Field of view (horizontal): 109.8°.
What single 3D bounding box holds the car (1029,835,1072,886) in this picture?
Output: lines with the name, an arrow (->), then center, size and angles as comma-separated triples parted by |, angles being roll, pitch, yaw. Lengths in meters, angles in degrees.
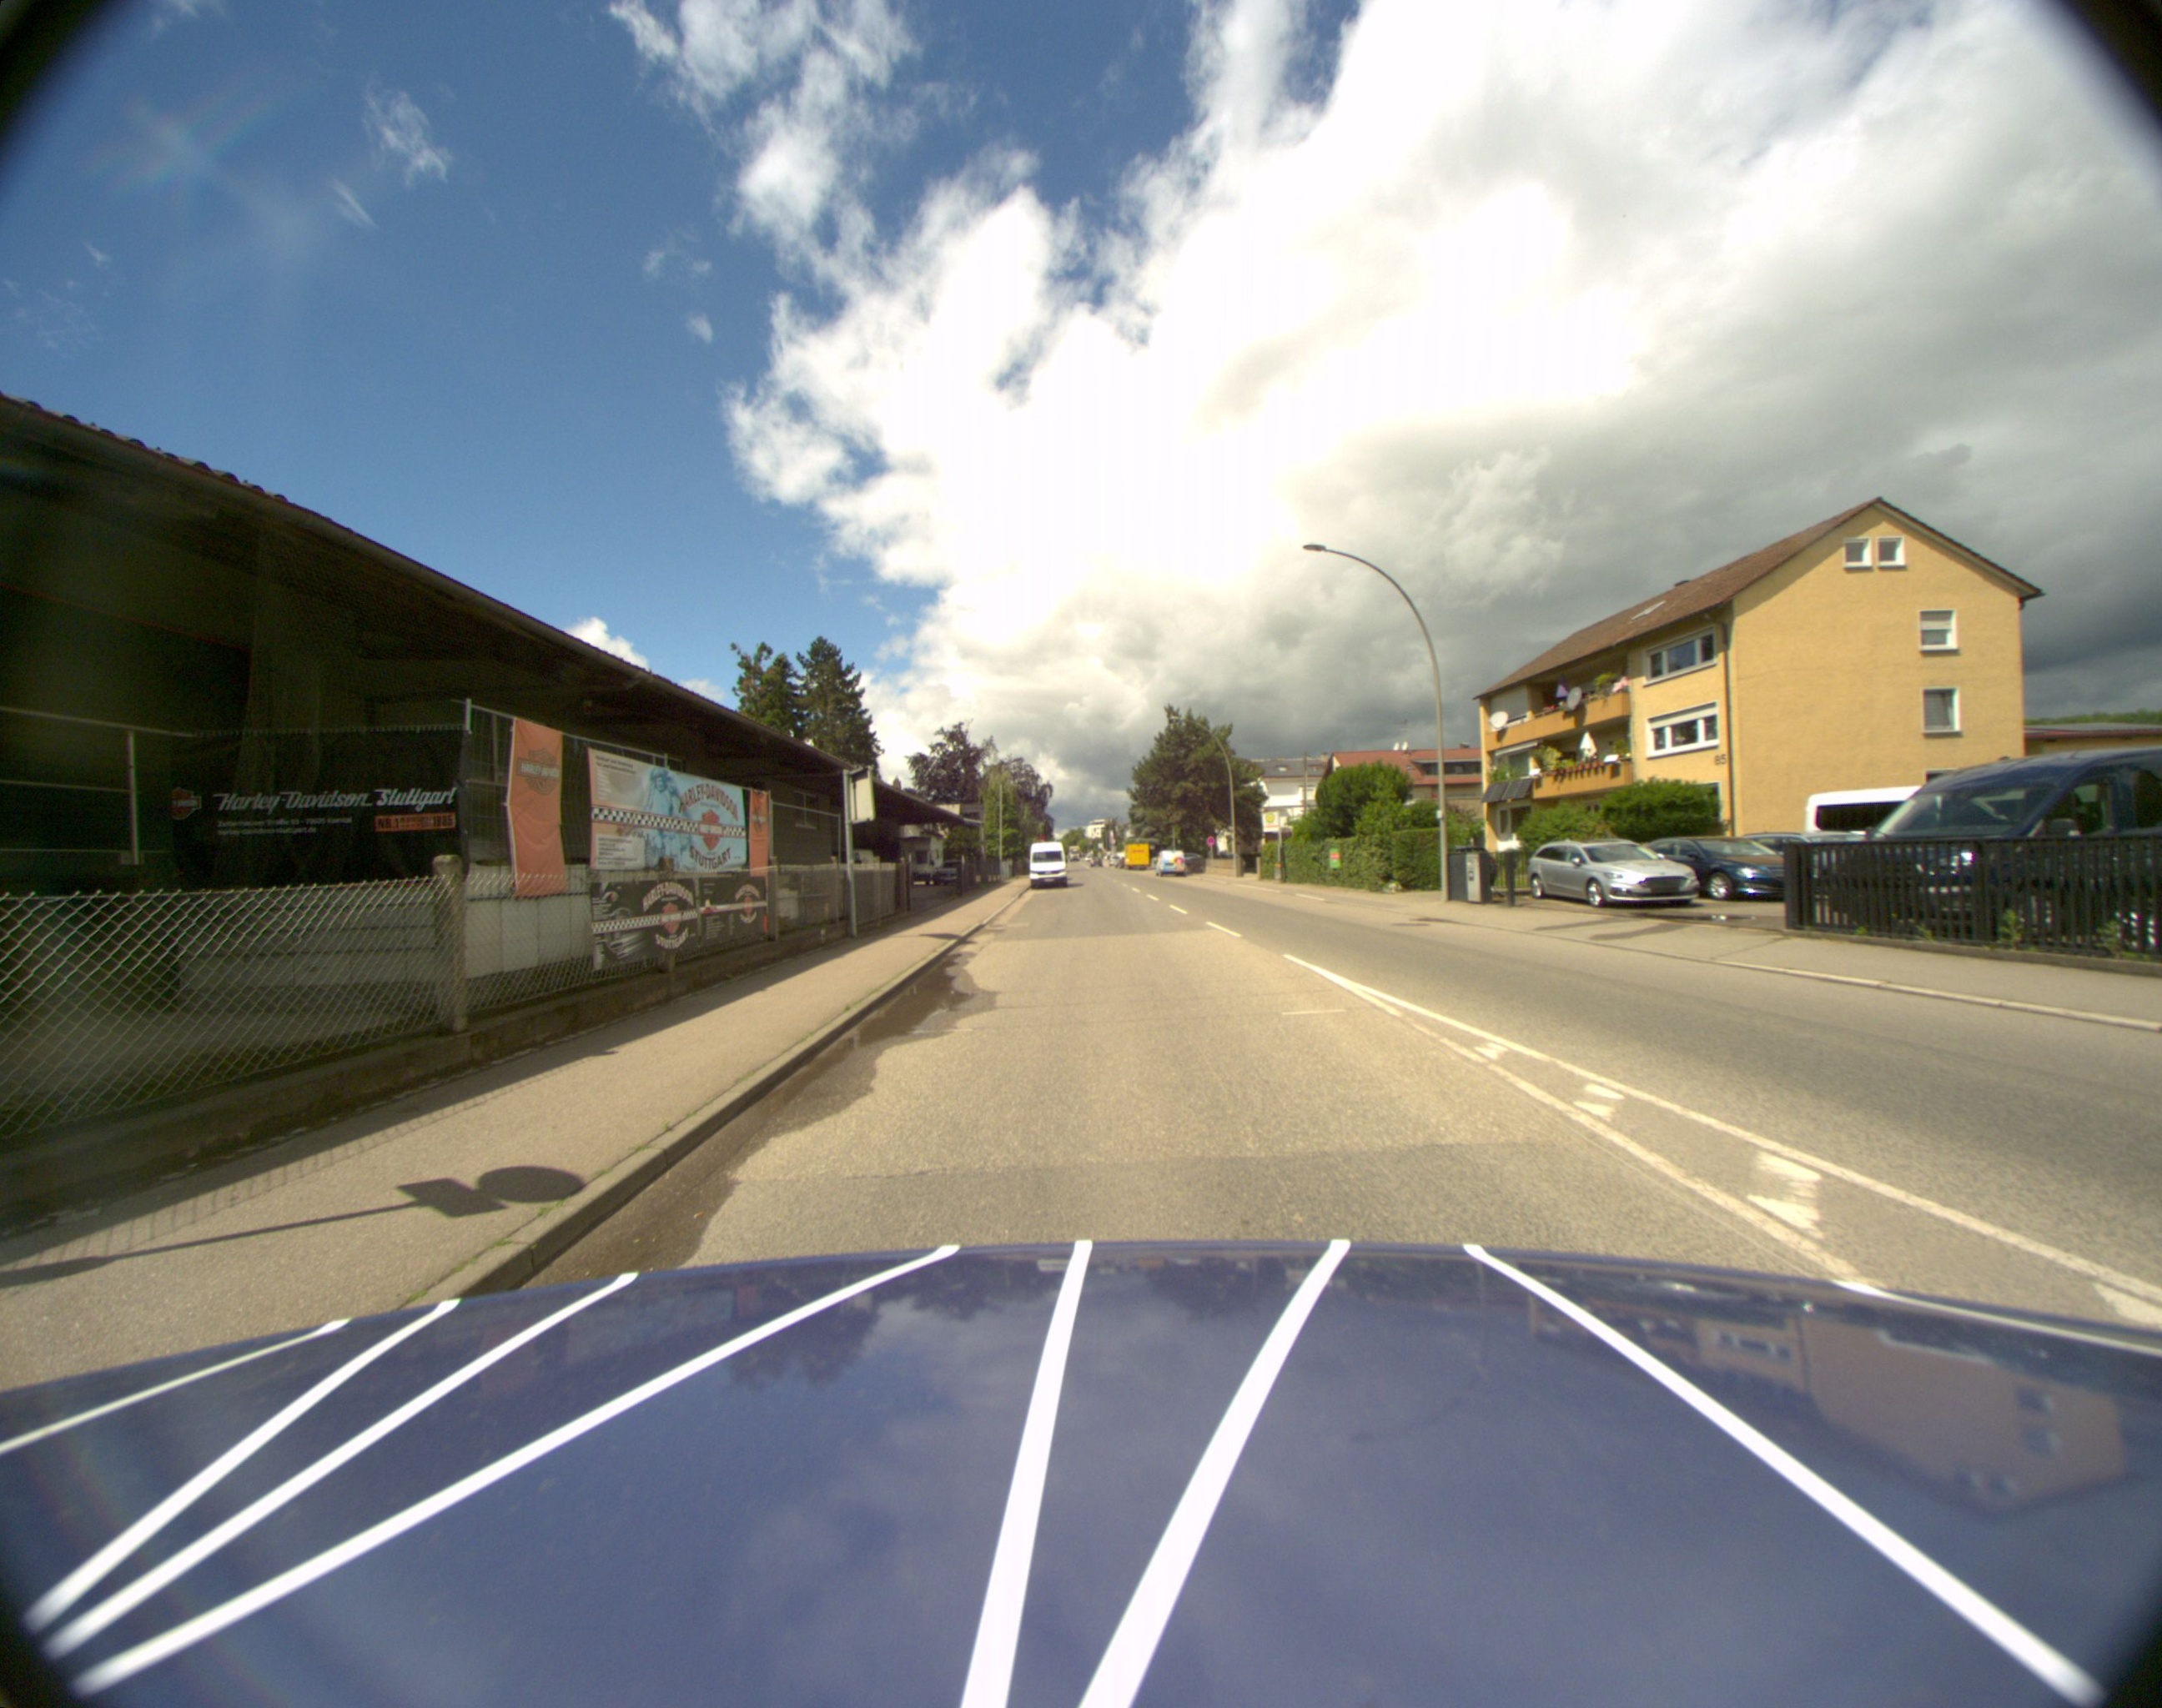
car -> -1.719, 0.323, 43.714 | 2.221, 2.673, 6.656 | -1, 0, -2

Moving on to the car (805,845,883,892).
car -> -10.489, 0.615, 33.987 | 1.999, 1.898, 4.853 | -2, -1, -1

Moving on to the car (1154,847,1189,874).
car -> 6.559, 0.474, 55.585 | 1.838, 1.842, 4.895 | 1, -1, -1

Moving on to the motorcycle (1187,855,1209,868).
motorcycle -> 10.553, 0.692, 68.420 | 1.872, 1.158, 0.825 | -2, 0, 16

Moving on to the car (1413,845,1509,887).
car -> 14.259, 0.404, 28.787 | 1.848, 1.418, 4.333 | -1, 0, 7

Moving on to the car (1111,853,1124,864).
car -> 5.568, 0.742, 117.264 | 1.809, 1.666, 4.127 | 0, 0, -1

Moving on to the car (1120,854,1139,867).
car -> 5.932, 0.796, 93.218 | 1.999, 1.445, 4.811 | 2, 0, -1

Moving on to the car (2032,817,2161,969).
car -> 12.390, 0.379, 6.901 | 2.037, 1.585, 4.283 | -2, 0, -4

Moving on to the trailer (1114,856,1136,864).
trailer -> 5.711, 0.802, 99.529 | 2.324, 0.985, 7.458 | 0, 0, -1

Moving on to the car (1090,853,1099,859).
car -> 3.221, 0.570, 185.658 | 1.987, 1.412, 3.999 | -1, 0, -3

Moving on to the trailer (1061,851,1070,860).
trailer -> -3.623, 0.357, 177.234 | 2.045, 2.214, 5.078 | -1, 0, 0

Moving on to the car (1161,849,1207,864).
car -> 11.907, 0.327, 87.941 | 5.021, 1.543, 1.972 | -2, 1, -2

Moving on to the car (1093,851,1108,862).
car -> 2.863, 0.359, 113.183 | 1.906, 1.509, 4.318 | -1, 0, -2

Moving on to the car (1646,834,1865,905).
car -> 15.419, 0.304, 17.736 | 1.848, 1.418, 4.334 | -1, 0, 11

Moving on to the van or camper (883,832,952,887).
van or camper -> -9.932, 0.294, 46.874 | 2.889, 3.043, 6.911 | -2, 0, -2

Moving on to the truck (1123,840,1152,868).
truck -> 6.290, 0.008, 85.513 | 2.330, 2.986, 7.816 | 0, 0, -2

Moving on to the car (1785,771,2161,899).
car -> 20.568, -0.382, 17.883 | 2.418, 2.481, 6.135 | 0, 0, 2

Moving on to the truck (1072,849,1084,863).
truck -> -0.821, 0.402, 198.569 | 2.880, 3.290, 8.606 | -4, 1, -1

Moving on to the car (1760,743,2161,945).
car -> 13.839, -0.165, 10.871 | 6.053, 2.482, 2.477 | -2, 0, -1

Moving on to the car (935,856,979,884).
car -> -7.202, 0.924, 44.634 | 1.769, 1.480, 4.926 | -2, -1, -1

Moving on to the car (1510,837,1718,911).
car -> 12.450, 0.398, 18.291 | 1.997, 1.477, 5.344 | -2, 0, 10

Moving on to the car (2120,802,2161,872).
car -> 28.638, -0.454, 18.109 | 1.849, 1.781, 4.330 | -1, 0, 0

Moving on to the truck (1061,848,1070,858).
truck -> -4.663, -0.415, 228.840 | 2.411, 2.722, 6.639 | -4, 1, -1

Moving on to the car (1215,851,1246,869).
car -> 13.666, 0.537, 69.610 | 1.772, 1.534, 4.086 | -1, 0, -5

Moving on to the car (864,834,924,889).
car -> -9.948, 0.430, 40.823 | 2.023, 2.665, 5.497 | -2, -1, -2

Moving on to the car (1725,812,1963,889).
car -> 17.758, -0.072, 18.037 | 1.848, 1.568, 4.334 | -1, 0, 11
